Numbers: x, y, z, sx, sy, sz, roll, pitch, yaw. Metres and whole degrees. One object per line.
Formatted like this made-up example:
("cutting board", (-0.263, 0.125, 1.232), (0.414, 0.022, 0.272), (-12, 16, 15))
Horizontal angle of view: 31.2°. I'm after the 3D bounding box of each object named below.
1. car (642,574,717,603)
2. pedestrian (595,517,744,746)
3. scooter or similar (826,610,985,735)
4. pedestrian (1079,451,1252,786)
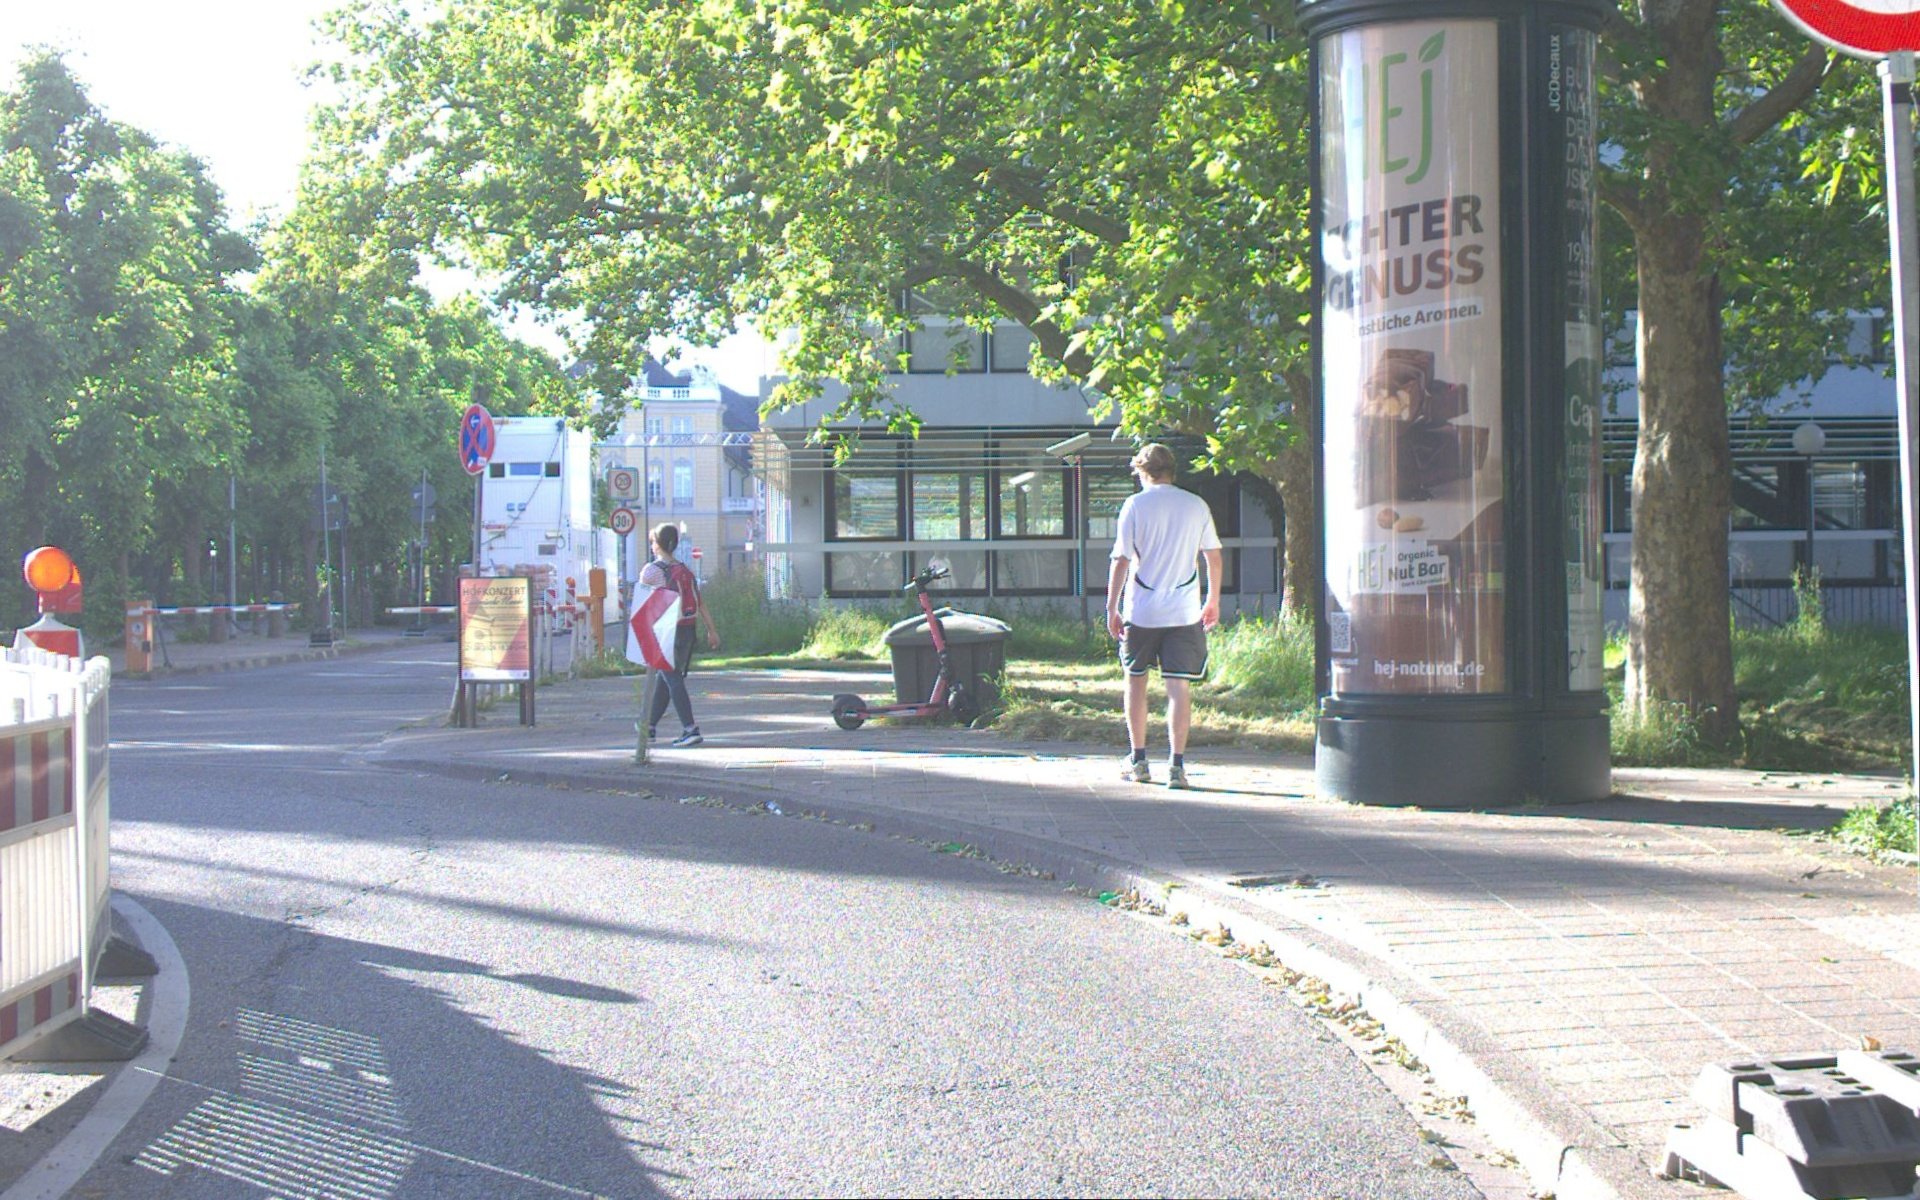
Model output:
("car", (-17.376, -0.726, 212.944), (4.557, 1.784, 2.000), (0, 0, -2))
("pedestrian", (-2.109, 0.222, 24.918), (0.708, 1.618, 0.939), (0, 0, -32))
("scooter or similar", (-0.420, 0.558, 26.478), (1.146, 0.911, 0.419), (-2, -1, -8))
("pedestrian", (1.134, 0.096, 19.226), (0.745, 1.807, 1.134), (1, 0, -6))
